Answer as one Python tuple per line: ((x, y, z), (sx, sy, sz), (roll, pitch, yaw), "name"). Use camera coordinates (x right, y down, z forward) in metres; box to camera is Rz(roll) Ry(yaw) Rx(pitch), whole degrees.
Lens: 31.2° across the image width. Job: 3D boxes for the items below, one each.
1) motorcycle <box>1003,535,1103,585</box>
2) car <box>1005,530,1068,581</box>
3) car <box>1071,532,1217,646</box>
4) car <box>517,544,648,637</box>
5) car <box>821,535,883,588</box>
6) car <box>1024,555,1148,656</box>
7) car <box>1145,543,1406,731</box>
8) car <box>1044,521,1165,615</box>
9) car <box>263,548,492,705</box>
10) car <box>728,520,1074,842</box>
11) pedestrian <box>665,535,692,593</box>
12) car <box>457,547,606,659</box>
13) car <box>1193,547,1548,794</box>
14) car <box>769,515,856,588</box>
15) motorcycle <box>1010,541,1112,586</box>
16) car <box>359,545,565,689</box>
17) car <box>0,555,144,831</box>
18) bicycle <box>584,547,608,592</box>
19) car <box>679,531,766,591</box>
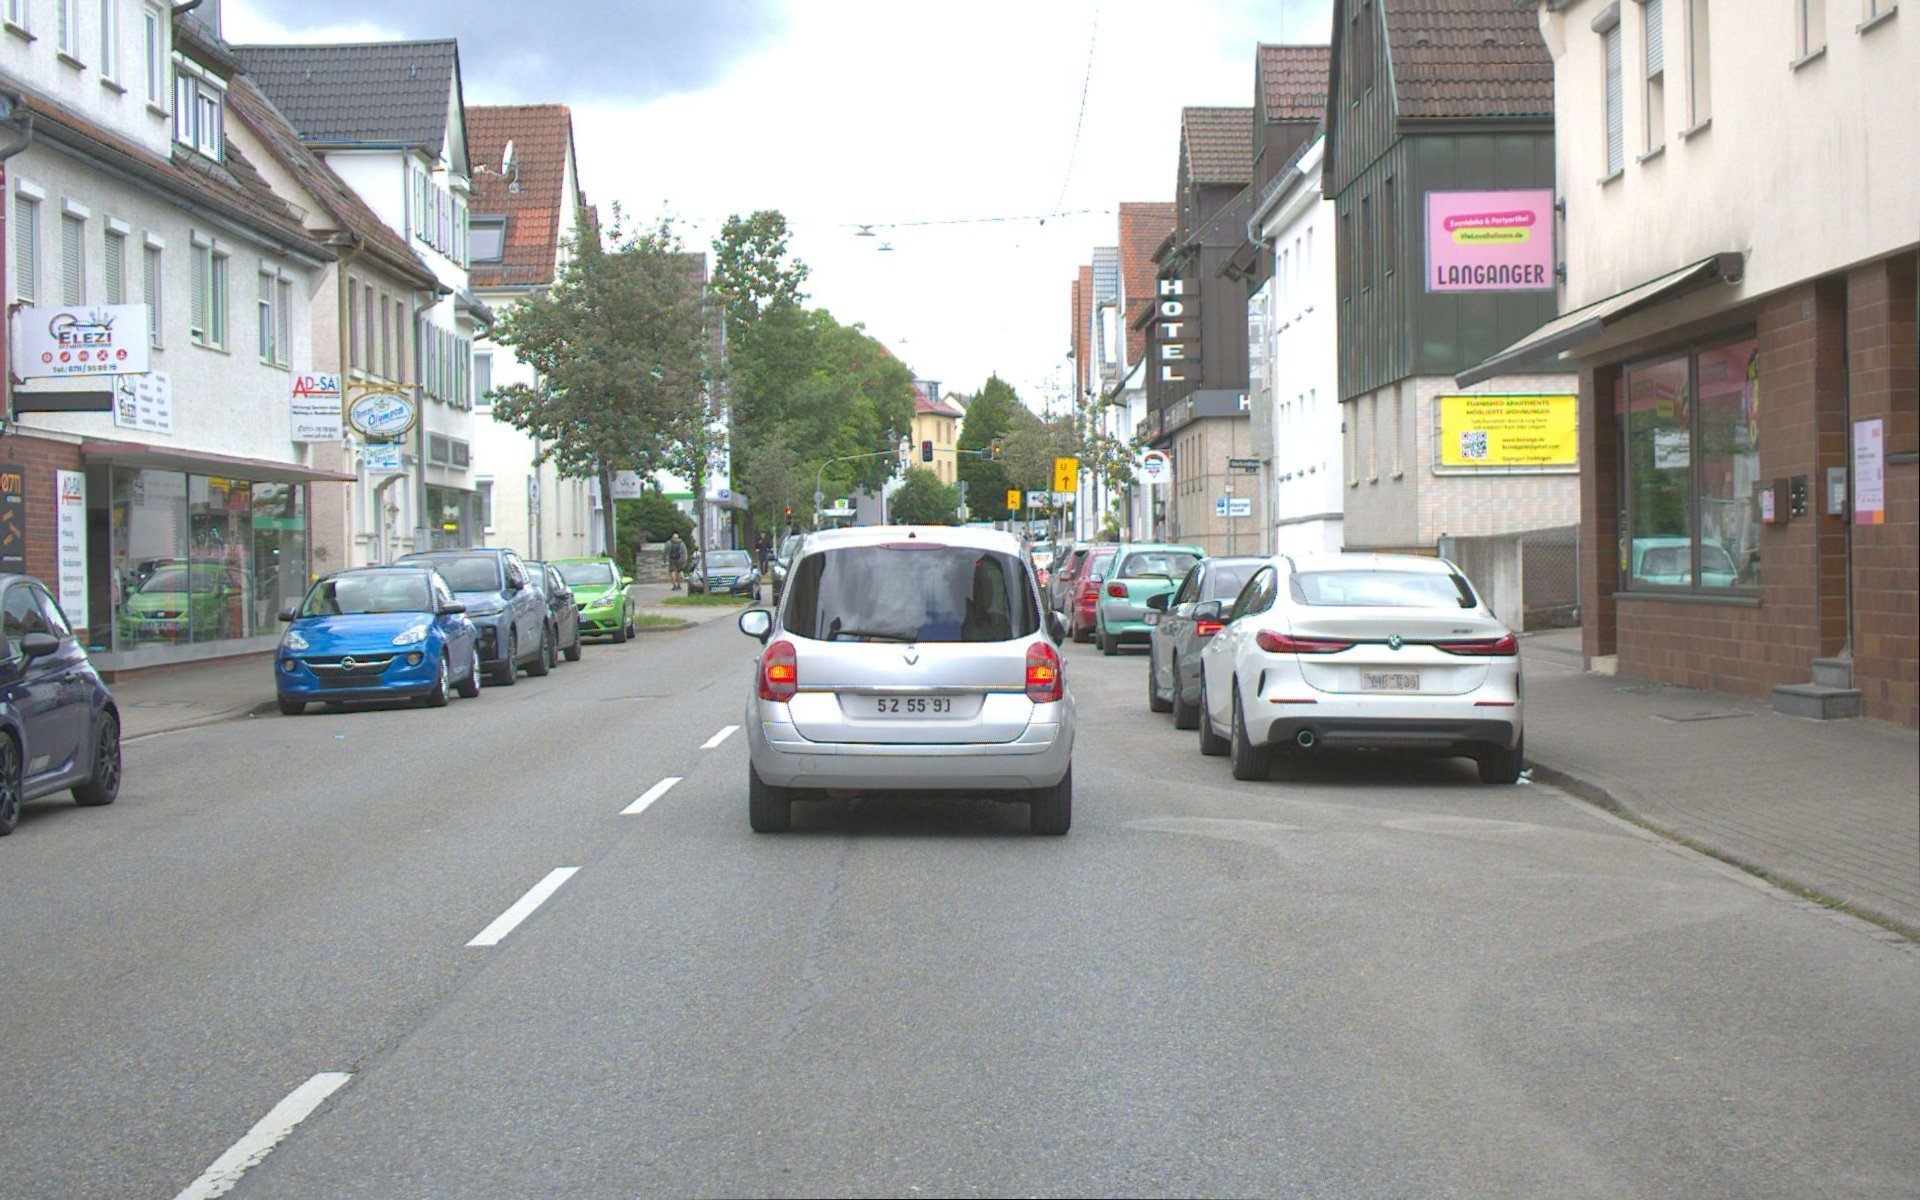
((2.512, -1.068, 92.545), (2.707, 1.331, 0.700), (0, 1, -30), "motorcycle")
((2.215, -1.303, 100.505), (1.700, 1.462, 4.239), (0, 1, -1), "car")
((2.502, -0.181, 47.597), (1.831, 1.492, 3.993), (0, 1, 0), "car")
((-6.304, -0.186, 57.827), (1.682, 1.442, 4.020), (-2, 1, 0), "car")
((-3.467, -1.263, 110.889), (1.794, 1.573, 4.192), (-3, 1, 0), "car")
((1.878, 0.047, 52.380), (1.755, 1.441, 4.455), (0, 1, 0), "car")
((2.563, 0.257, 28.772), (1.831, 1.441, 4.110), (0, 1, 0), "car")
((2.413, -0.557, 58.361), (1.876, 1.534, 4.513), (0, 1, 0), "car")
((-6.072, 0.239, 36.184), (1.682, 1.494, 3.775), (-2, 1, 1), "car")
((-0.274, 0.361, 18.813), (1.682, 1.560, 3.993), (0, 1, 0), "car")
((-8.700, -1.111, 106.099), (0.762, 1.785, 0.890), (0, 1, 0), "pedestrian")
((-5.944, 0.008, 48.002), (1.581, 1.503, 3.812), (0, 1, 0), "car")
((2.585, 0.386, 22.583), (1.831, 1.441, 4.332), (0, 1, 0), "car")
((-3.681, -1.225, 86.569), (1.900, 1.731, 4.366), (-2, 1, 1), "car")
((2.693, -0.974, 91.500), (2.728, 1.179, 0.700), (0, 1, -30), "motorcycle")
((-6.030, 0.160, 42.081), (1.803, 1.593, 4.304), (-2, 1, 1), "car")
((-6.082, 0.523, 20.108), (1.682, 1.488, 3.591), (-2, 1, 1), "car")
((-9.430, -0.804, 89.089), (0.514, 1.149, 1.666), (0, 1, -3), "bicycle")
((-6.406, -1.069, 93.025), (1.948, 1.462, 4.516), (-3, 1, 0), "car")
